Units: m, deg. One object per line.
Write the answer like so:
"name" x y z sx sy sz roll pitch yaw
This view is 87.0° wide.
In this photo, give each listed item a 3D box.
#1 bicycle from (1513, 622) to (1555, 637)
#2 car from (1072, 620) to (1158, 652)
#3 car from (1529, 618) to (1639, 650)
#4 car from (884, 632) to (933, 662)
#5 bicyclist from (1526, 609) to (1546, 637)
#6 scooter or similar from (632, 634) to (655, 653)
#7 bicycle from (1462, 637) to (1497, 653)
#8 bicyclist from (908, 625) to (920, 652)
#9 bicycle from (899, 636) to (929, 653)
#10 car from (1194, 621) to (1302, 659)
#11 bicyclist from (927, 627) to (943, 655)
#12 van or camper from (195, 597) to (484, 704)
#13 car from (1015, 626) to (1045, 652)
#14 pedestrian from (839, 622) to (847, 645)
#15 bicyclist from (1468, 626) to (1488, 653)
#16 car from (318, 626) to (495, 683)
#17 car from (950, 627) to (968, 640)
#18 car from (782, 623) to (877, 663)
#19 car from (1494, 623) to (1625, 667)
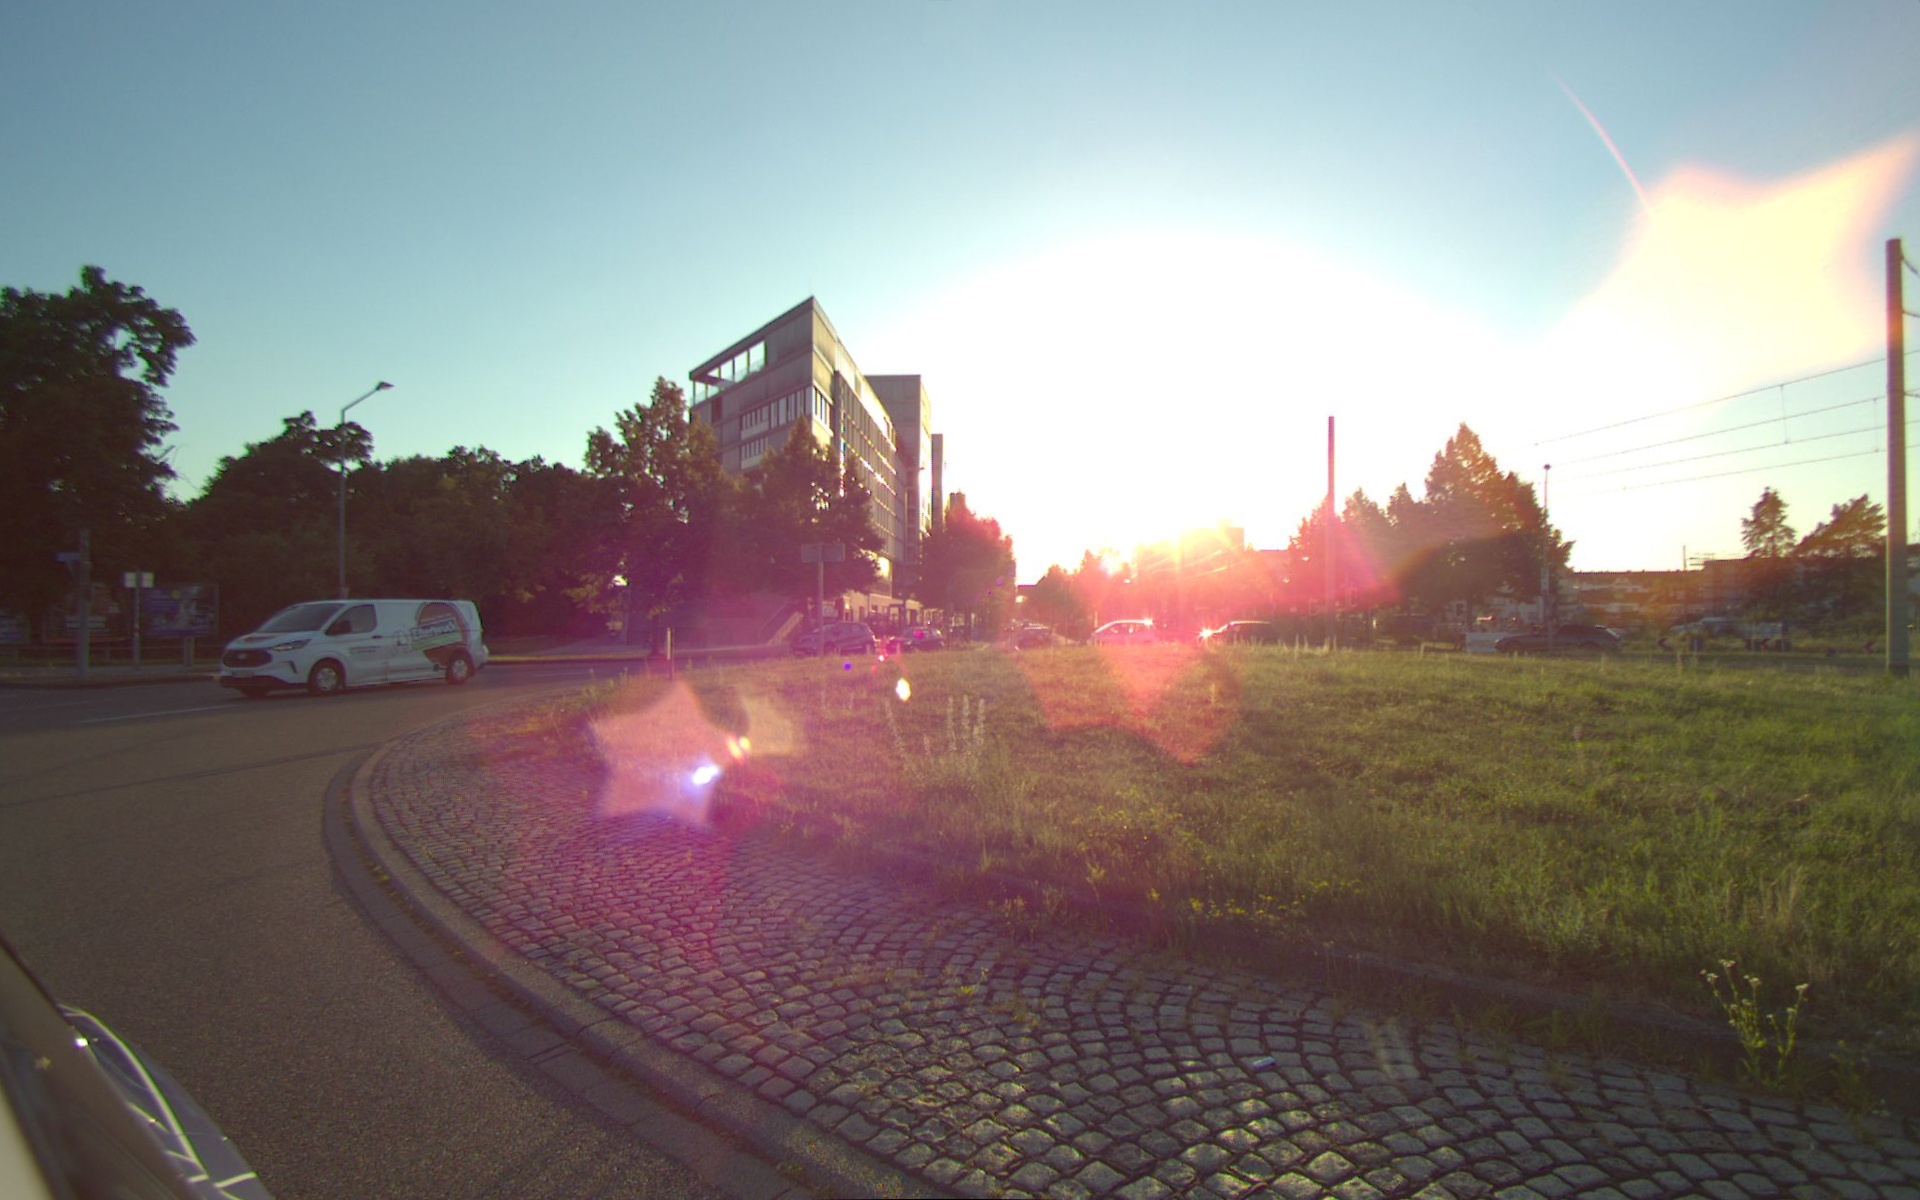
"bicycle" 34.378 1.761 60.601 0.504 0.852 2.140 1 -3 -37
"car" 7.279 1.672 47.583 3.652 1.476 1.609 0 -2 -7
"car" 29.814 1.616 48.468 1.722 1.457 4.146 1 -2 -33
"car" -2.648 2.403 52.529 1.726 1.450 3.988 -1 -1 10
"bicyclist" 34.382 1.392 60.399 0.684 1.646 0.800 1 -3 -37
"scooter or similar" -21.336 2.941 68.244 1.562 1.229 0.365 -1 -2 14
"bicycle" 32.113 2.762 62.626 1.821 0.988 0.548 -1 -2 7
"bicyclist" -2.875 2.403 63.372 0.674 1.660 0.685 0 -2 -6
"bicycle" -2.890 2.775 63.151 1.834 1.030 0.308 0 -2 -6
"car" 13.572 1.875 47.772 4.528 1.761 1.753 0 -2 -4
"bicyclist" -1.596 2.586 64.195 0.840 1.769 0.801 -1 -2 10
"van or camper" -12.802 0.989 21.420 1.982 1.972 5.301 -1 -1 16
"car" 4.636 2.532 66.598 1.756 1.633 3.992 0 -1 7
"pedestrian" -10.110 2.906 87.475 0.532 2.029 0.527 -1 -2 3
"bicyclist" 32.057 2.462 62.653 0.805 1.653 0.813 -1 -2 7
"car" -15.741 1.499 29.071 1.731 1.441 4.531 -1 -1 18
"car" -0.101 3.839 115.794 1.779 1.475 3.996 0 -2 3
"car" -5.342 1.752 41.873 1.741 1.548 3.954 -1 -1 34
"car" 25.501 1.907 43.119 4.591 1.761 1.729 -2 -2 38
